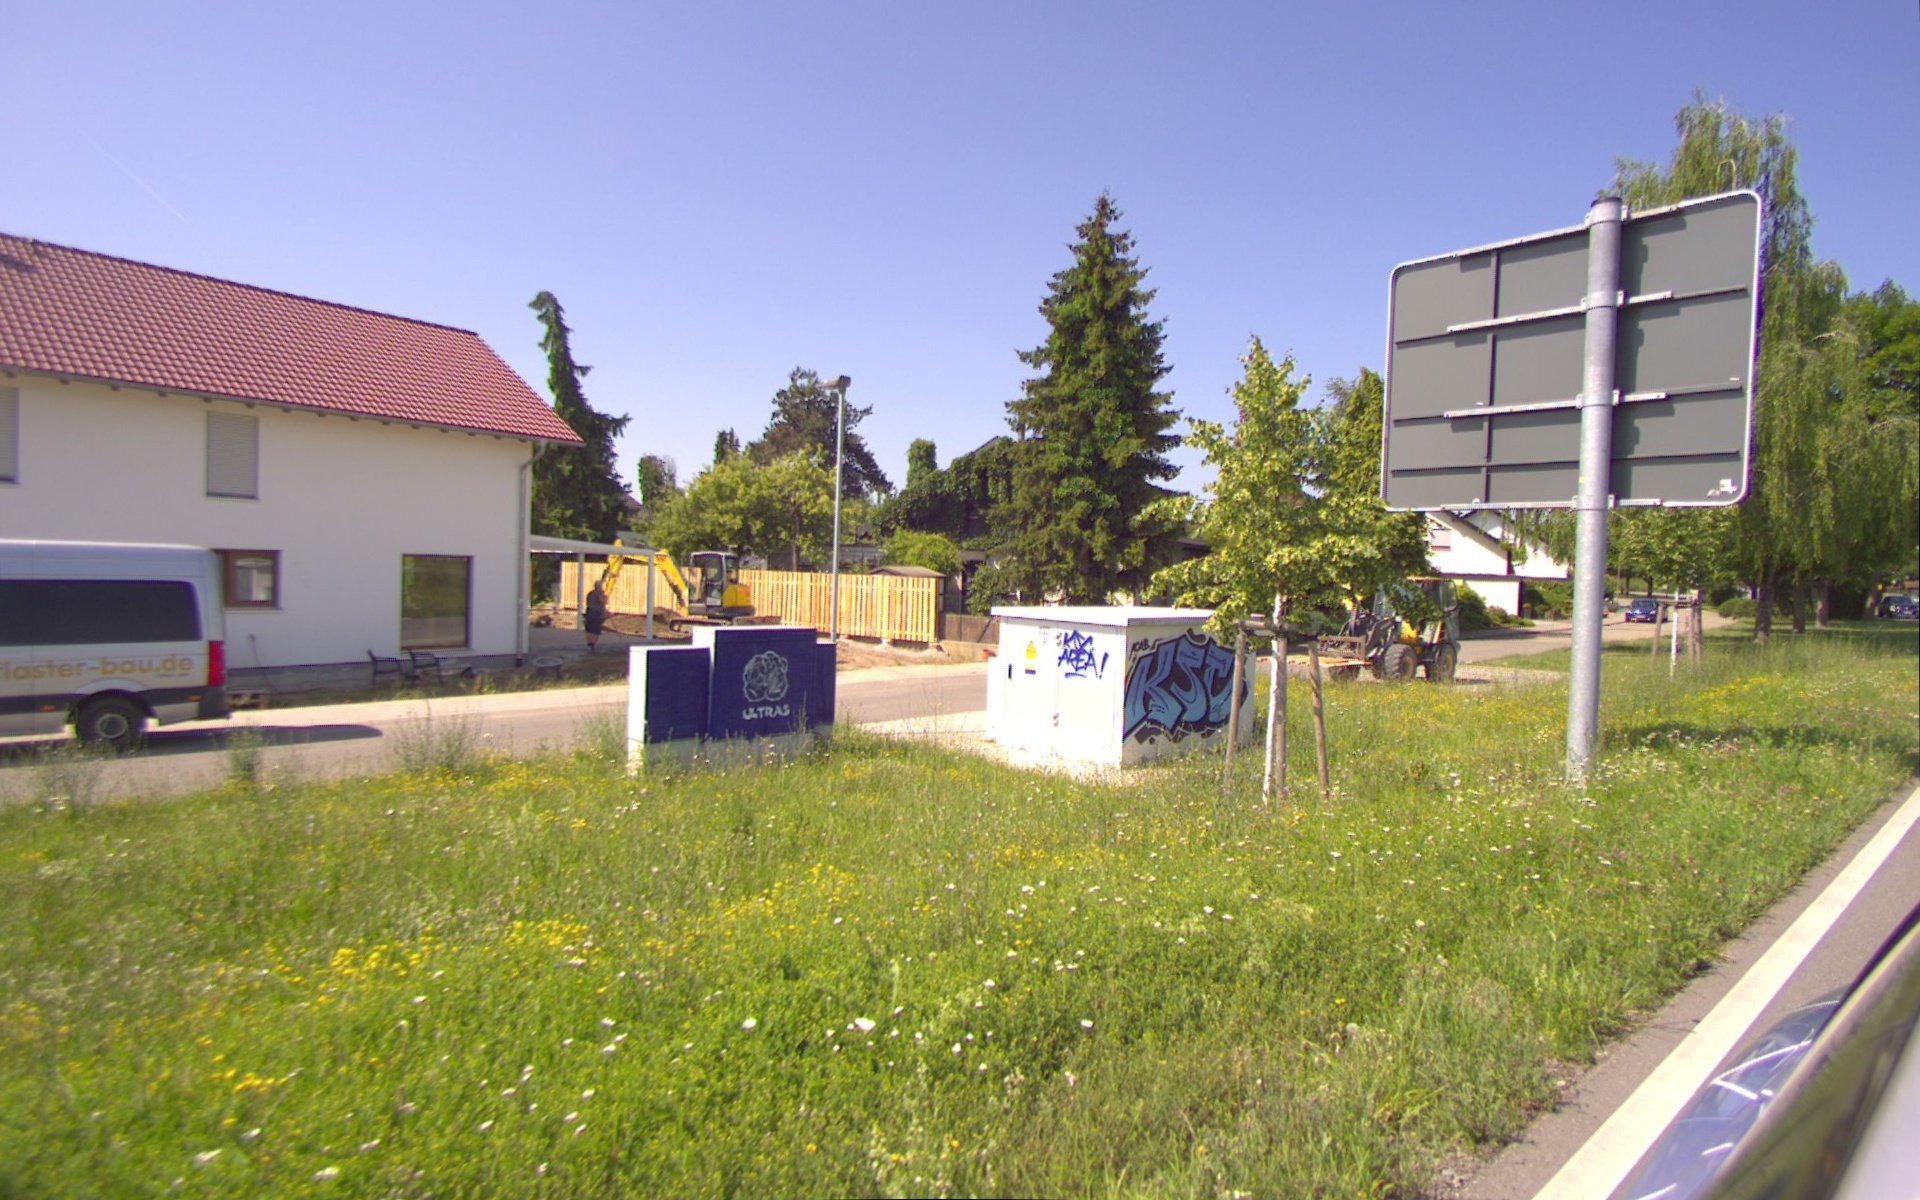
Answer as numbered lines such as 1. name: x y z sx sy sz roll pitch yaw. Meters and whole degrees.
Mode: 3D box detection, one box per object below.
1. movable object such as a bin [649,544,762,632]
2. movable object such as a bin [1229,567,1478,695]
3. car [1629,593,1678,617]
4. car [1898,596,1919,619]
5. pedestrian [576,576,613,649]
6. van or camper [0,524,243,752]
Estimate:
1. movable object such as a bin: -7.821 -0.387 31.218 2.839 2.589 1.778 2 1 17
2. movable object such as a bin: 9.054 0.548 22.863 6.824 2.493 2.320 -1 2 -41
3. car: 44.973 0.317 65.622 4.100 1.463 1.860 -1 1 -44
4. car: 70.742 0.545 74.659 1.924 1.581 3.946 0 1 37
5. pedestrian: -8.931 0.293 24.776 0.701 1.684 0.717 3 5 -12
6. van or camper: -12.301 0.420 12.102 5.925 2.633 2.176 -1 2 -41
